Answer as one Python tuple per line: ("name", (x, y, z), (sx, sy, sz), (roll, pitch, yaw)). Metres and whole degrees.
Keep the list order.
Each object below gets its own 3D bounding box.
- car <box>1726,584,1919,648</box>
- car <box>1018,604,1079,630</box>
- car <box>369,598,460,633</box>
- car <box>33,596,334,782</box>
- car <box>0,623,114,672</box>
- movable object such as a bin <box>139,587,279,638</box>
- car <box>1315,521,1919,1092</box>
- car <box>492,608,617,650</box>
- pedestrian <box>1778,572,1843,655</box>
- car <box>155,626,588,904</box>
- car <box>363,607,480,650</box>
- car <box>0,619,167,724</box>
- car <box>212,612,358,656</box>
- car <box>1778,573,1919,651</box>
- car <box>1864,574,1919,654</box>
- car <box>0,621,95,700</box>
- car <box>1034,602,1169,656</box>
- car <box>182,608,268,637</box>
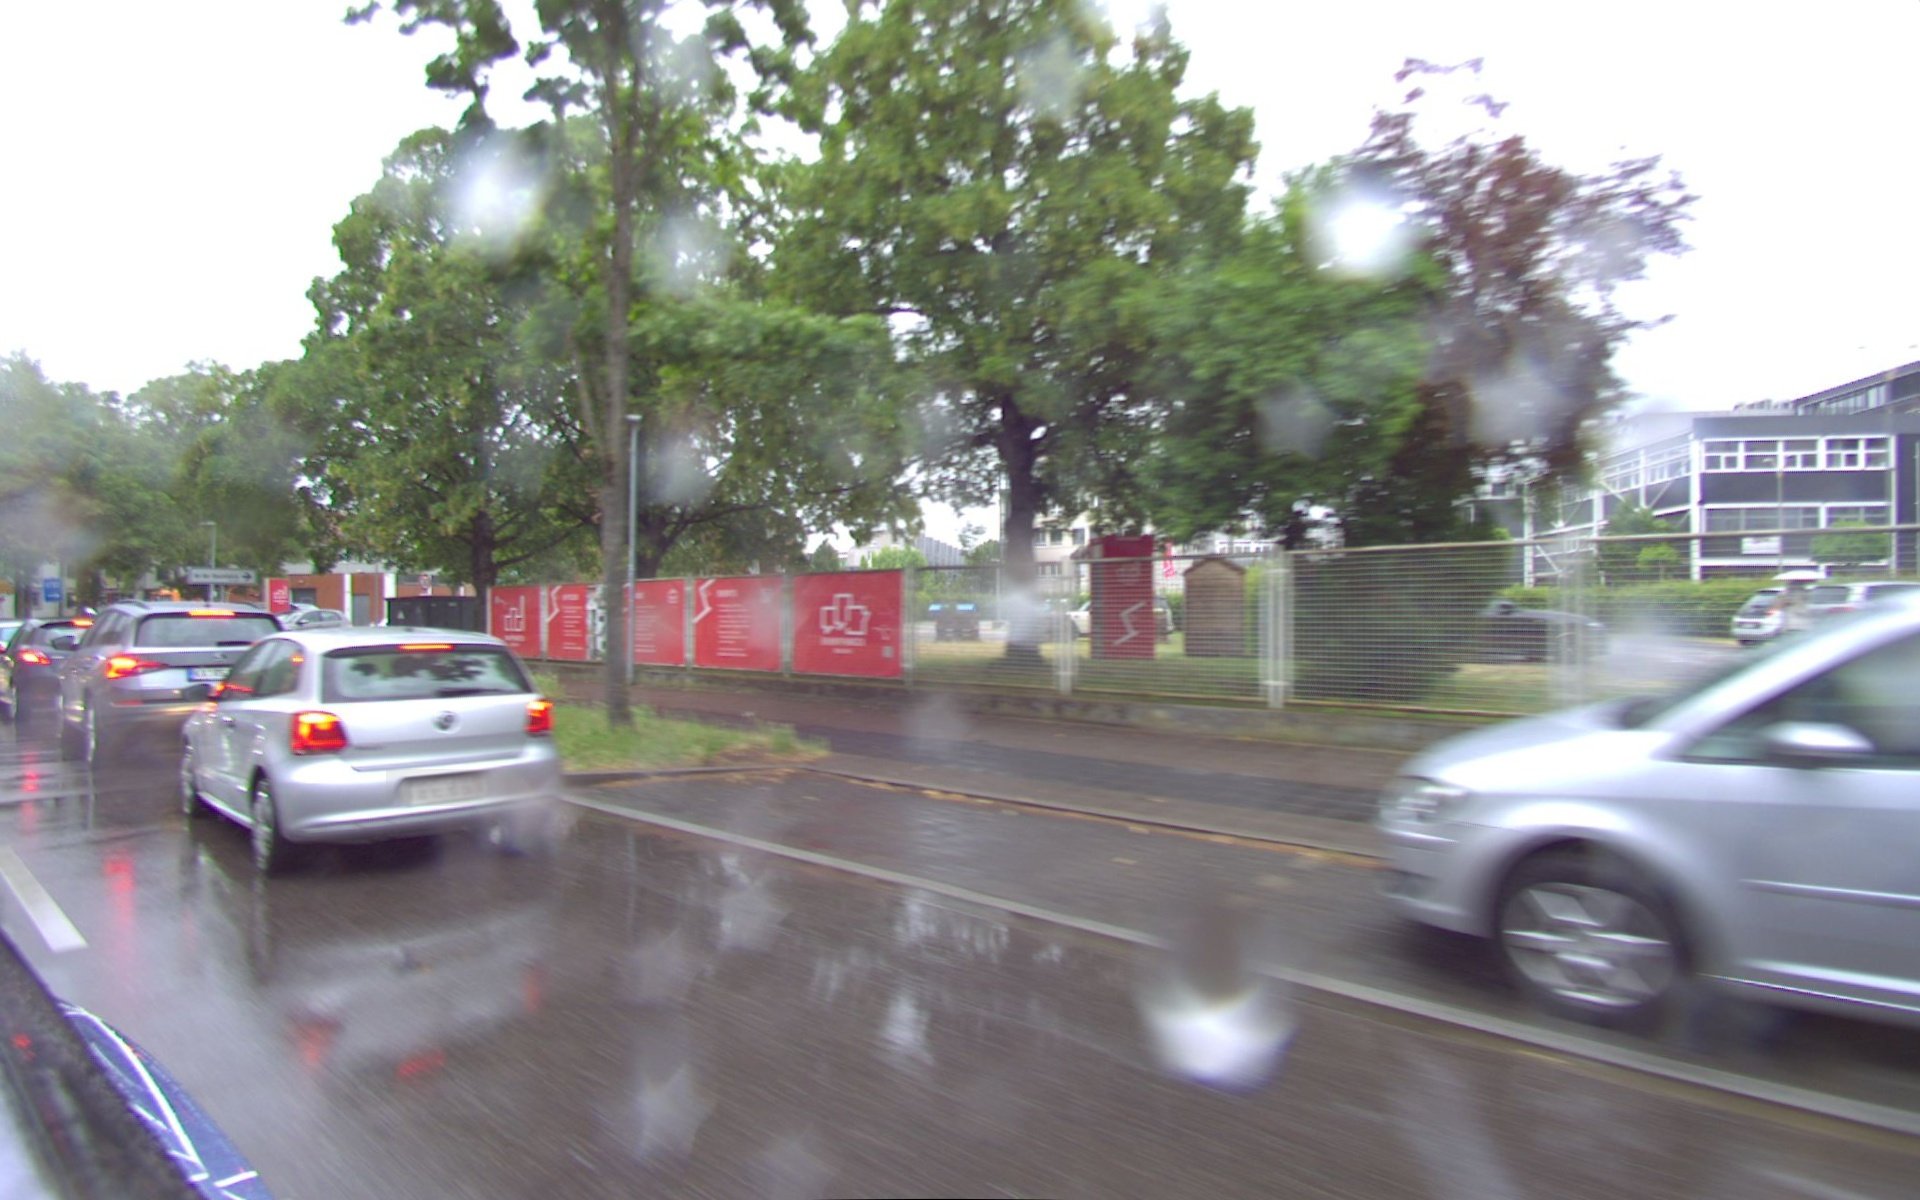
("car", (20.858, 0.385, 24.080), (3.772, 1.462, 1.759), (0, -1, 9))
("car", (5.981, 1.143, 68.333), (3.954, 1.627, 1.995), (-2, -2, 9))
("car", (-33.556, 0.964, 62.321), (4.620, 2.029, 1.996), (-1, -1, 7))
("car", (-8.859, 0.808, 11.366), (4.821, 1.652, 1.893), (-1, 0, 43))
("car", (-29.418, 1.446, 31.053), (4.844, 1.465, 2.092), (0, -1, -17))
("movable object such as a bin", (-45.306, 0.718, 61.171), (6.669, 2.953, 2.780), (0, -1, -39))
("car", (3.784, 0.574, 3.316), (4.599, 1.692, 1.757), (-2, 1, 42))
("car", (-15.733, 1.141, 39.295), (4.255, 1.521, 1.783), (-1, -2, 12))
("pedestrian", (17.695, 0.275, 21.053), (0.999, 1.680, 0.716), (-1, -1, 41))
("car", (-4.419, 0.893, 7.267), (4.254, 1.393, 1.653), (-1, -1, 45))
("car", (-23.049, 1.186, 43.566), (2.024, 1.719, 4.632), (-1, -1, 11))
("car", (-14.015, 1.036, 15.858), (4.263, 1.431, 1.760), (-2, -2, 42))
("car", (-24.387, 1.197, 36.780), (1.991, 1.405, 4.326), (-1, 1, 10))
("car", (20.394, 0.262, 21.807), (3.815, 1.612, 1.928), (0, -1, 6))
("car", (20.225, 0.260, 19.471), (3.864, 1.507, 1.863), (0, -1, 3))
("car", (-19.272, 1.154, 20.594), (4.826, 1.414, 1.757), (-1, 0, 40))
("car", (4.371, 0.879, 31.099), (3.962, 1.595, 1.794), (-1, -1, 15))
("car", (-43.058, 1.310, 59.318), (3.938, 1.613, 2.003), (0, -2, -41))
